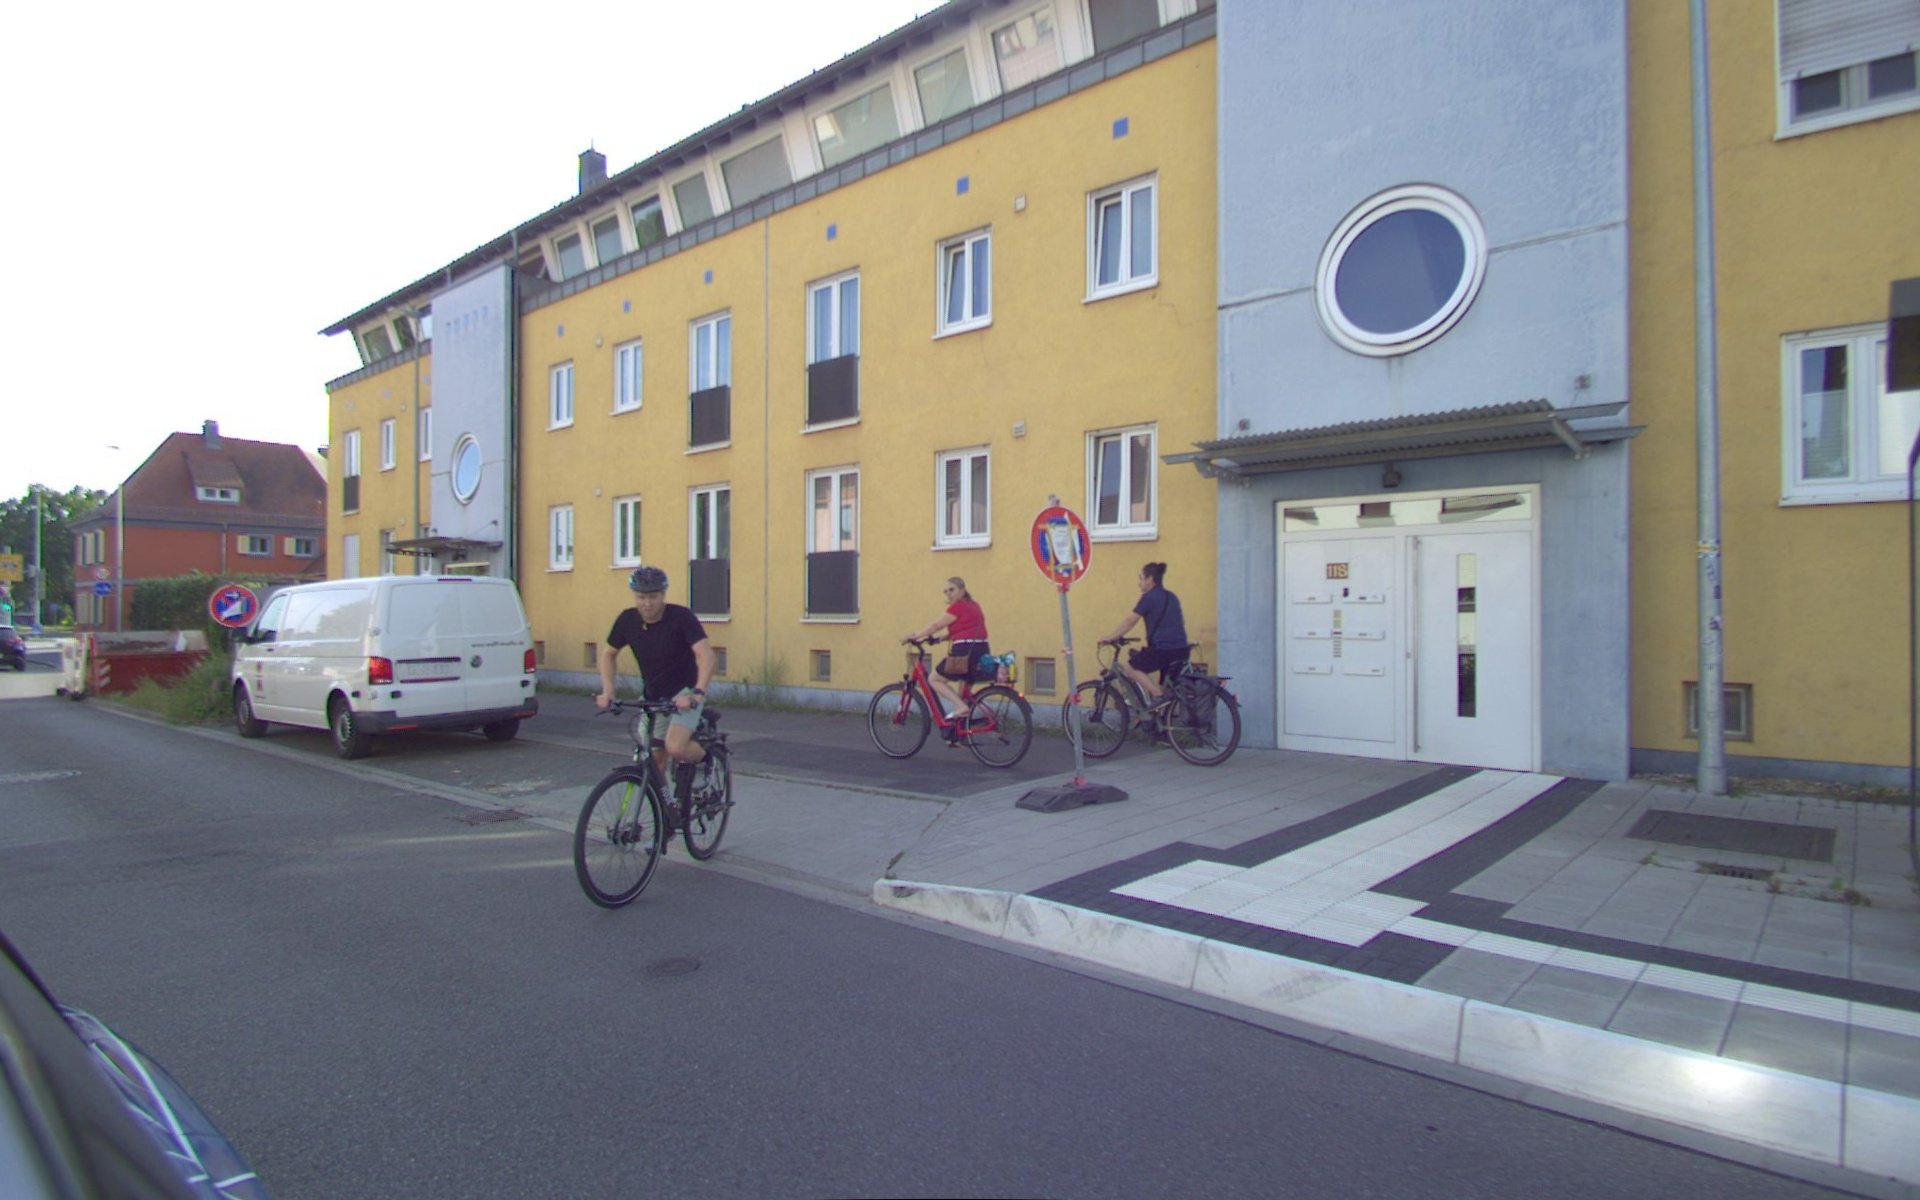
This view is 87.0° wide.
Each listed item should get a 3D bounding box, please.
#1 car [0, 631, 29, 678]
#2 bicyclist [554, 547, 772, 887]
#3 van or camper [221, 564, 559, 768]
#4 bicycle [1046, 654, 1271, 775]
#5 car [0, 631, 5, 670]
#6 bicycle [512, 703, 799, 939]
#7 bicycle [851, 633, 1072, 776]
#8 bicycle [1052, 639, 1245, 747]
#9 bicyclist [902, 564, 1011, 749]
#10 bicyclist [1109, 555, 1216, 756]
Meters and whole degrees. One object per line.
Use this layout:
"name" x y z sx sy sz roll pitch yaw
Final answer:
"car" -31.325 1.706 32.376 3.997 1.453 1.771 -2 -4 41
"bicyclist" -1.602 0.596 5.586 0.837 1.702 0.874 -1 -1 11
"van or camper" -7.097 0.691 12.353 4.916 2.018 1.974 -1 -1 40
"bicycle" 1.730 0.968 9.024 1.872 0.919 0.683 -2 -1 41
"car" -37.128 1.853 37.738 3.997 1.453 1.771 -2 -4 41
"bicycle" -1.554 1.101 5.606 0.673 0.861 2.020 -1 -1 10
"bicycle" -0.025 0.900 9.255 2.018 1.169 0.606 -2 -1 35
"bicycle" 1.957 0.933 10.715 1.906 1.005 0.708 -1 -1 42
"bicyclist" -0.026 0.497 9.292 0.726 1.615 0.664 -2 -1 34
"bicyclist" 1.799 0.470 8.963 0.665 1.682 0.667 -2 -1 40
